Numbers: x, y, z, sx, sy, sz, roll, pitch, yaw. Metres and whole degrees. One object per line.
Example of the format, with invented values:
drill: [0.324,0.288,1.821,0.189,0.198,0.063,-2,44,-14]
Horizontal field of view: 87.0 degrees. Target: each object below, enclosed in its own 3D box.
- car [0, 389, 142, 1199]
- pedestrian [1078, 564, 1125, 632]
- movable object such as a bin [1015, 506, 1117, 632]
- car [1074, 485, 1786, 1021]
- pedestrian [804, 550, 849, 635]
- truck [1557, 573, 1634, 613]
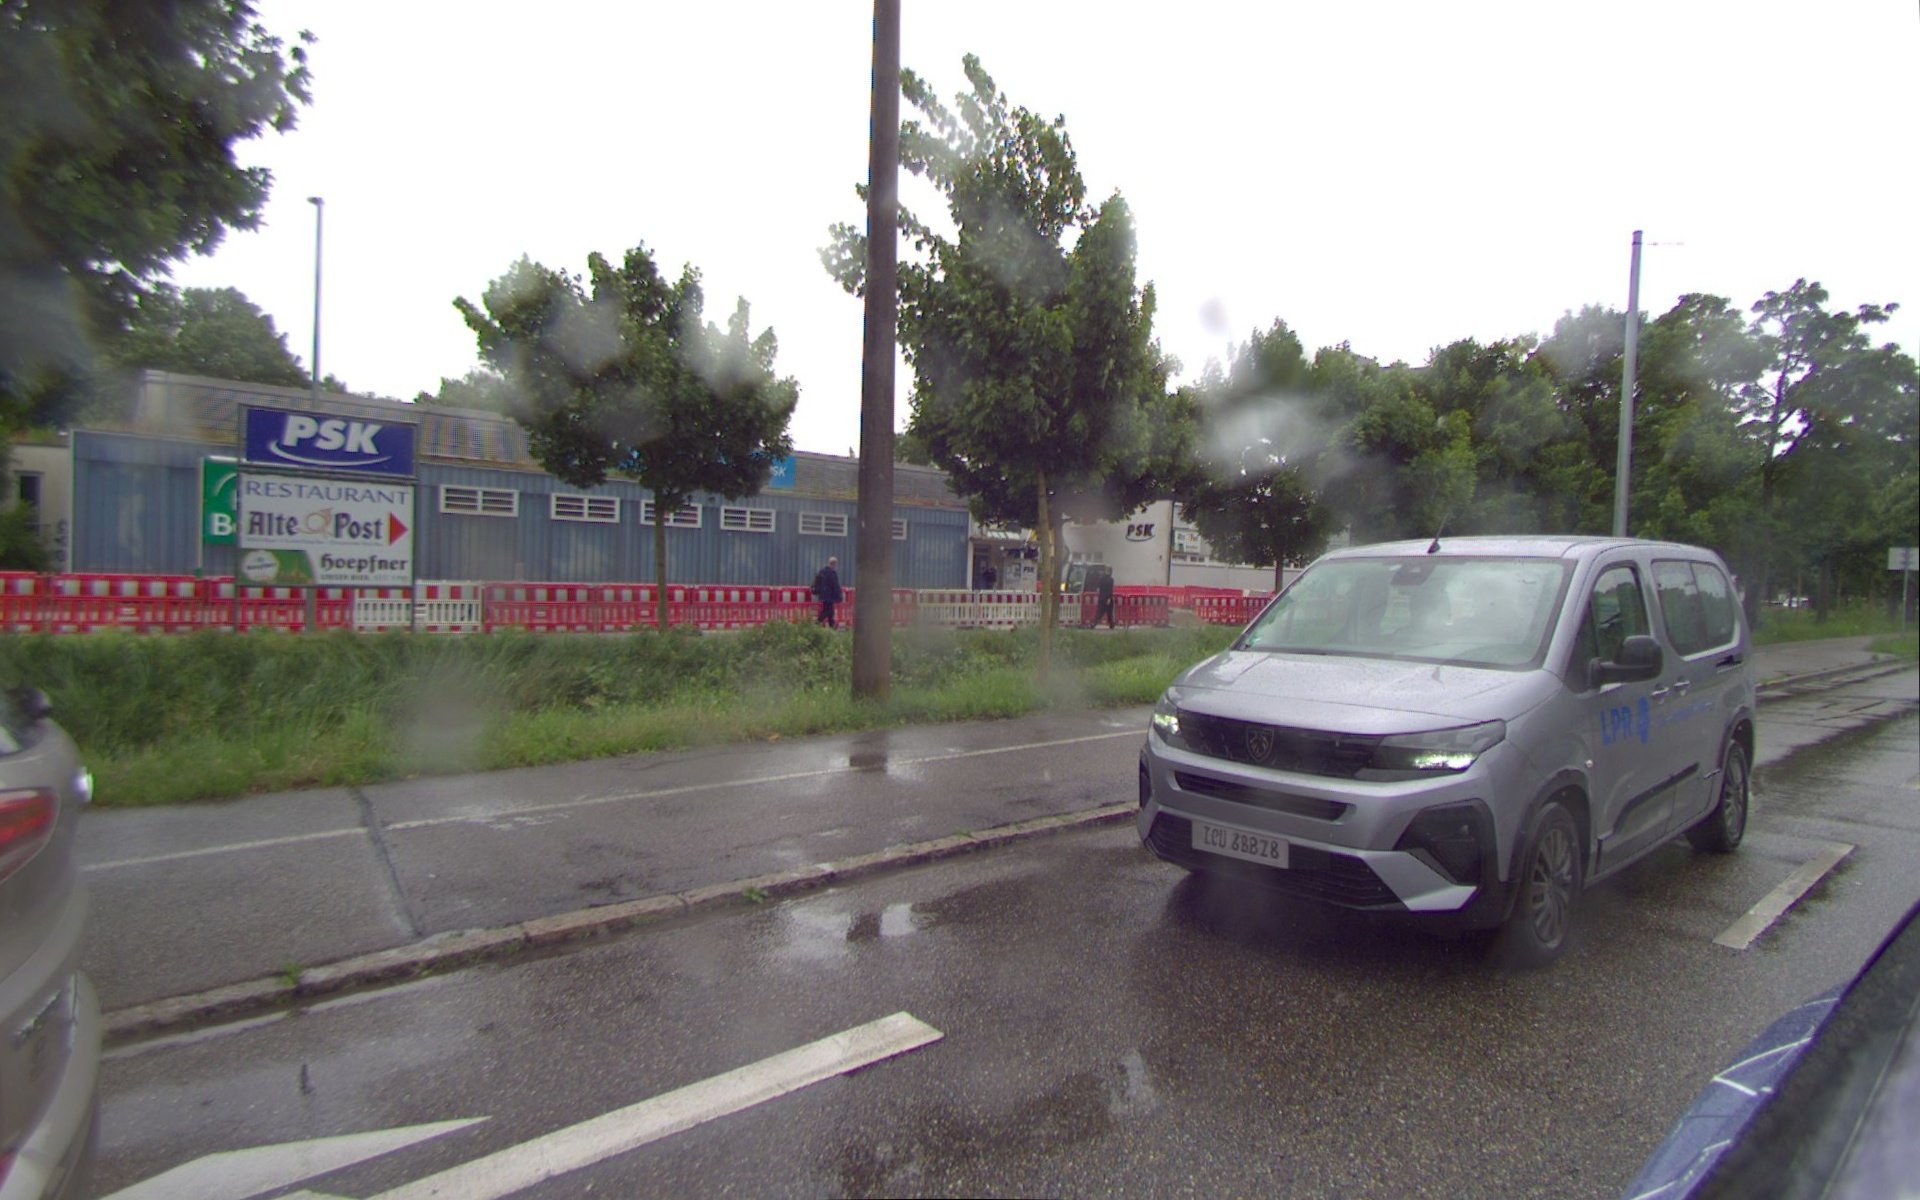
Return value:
car: [-3.145,0.589,0.586,4.122,1.631,1.887,-1,1,-41]
pedestrian: [4.160,-0.060,29.742,1.192,1.960,0.814,0,0,-42]
movable object such as a bin: [3.974,-1.111,37.616,3.839,4.482,1.557,0,0,-40]
car: [2.890,0.500,5.674,4.483,1.818,1.997,0,1,-41]
pedestrian: [-3.110,-0.176,23.612,0.861,1.920,0.580,0,0,-41]
truck: [49.264,-0.566,78.316,8.599,2.935,2.808,-1,0,-42]
